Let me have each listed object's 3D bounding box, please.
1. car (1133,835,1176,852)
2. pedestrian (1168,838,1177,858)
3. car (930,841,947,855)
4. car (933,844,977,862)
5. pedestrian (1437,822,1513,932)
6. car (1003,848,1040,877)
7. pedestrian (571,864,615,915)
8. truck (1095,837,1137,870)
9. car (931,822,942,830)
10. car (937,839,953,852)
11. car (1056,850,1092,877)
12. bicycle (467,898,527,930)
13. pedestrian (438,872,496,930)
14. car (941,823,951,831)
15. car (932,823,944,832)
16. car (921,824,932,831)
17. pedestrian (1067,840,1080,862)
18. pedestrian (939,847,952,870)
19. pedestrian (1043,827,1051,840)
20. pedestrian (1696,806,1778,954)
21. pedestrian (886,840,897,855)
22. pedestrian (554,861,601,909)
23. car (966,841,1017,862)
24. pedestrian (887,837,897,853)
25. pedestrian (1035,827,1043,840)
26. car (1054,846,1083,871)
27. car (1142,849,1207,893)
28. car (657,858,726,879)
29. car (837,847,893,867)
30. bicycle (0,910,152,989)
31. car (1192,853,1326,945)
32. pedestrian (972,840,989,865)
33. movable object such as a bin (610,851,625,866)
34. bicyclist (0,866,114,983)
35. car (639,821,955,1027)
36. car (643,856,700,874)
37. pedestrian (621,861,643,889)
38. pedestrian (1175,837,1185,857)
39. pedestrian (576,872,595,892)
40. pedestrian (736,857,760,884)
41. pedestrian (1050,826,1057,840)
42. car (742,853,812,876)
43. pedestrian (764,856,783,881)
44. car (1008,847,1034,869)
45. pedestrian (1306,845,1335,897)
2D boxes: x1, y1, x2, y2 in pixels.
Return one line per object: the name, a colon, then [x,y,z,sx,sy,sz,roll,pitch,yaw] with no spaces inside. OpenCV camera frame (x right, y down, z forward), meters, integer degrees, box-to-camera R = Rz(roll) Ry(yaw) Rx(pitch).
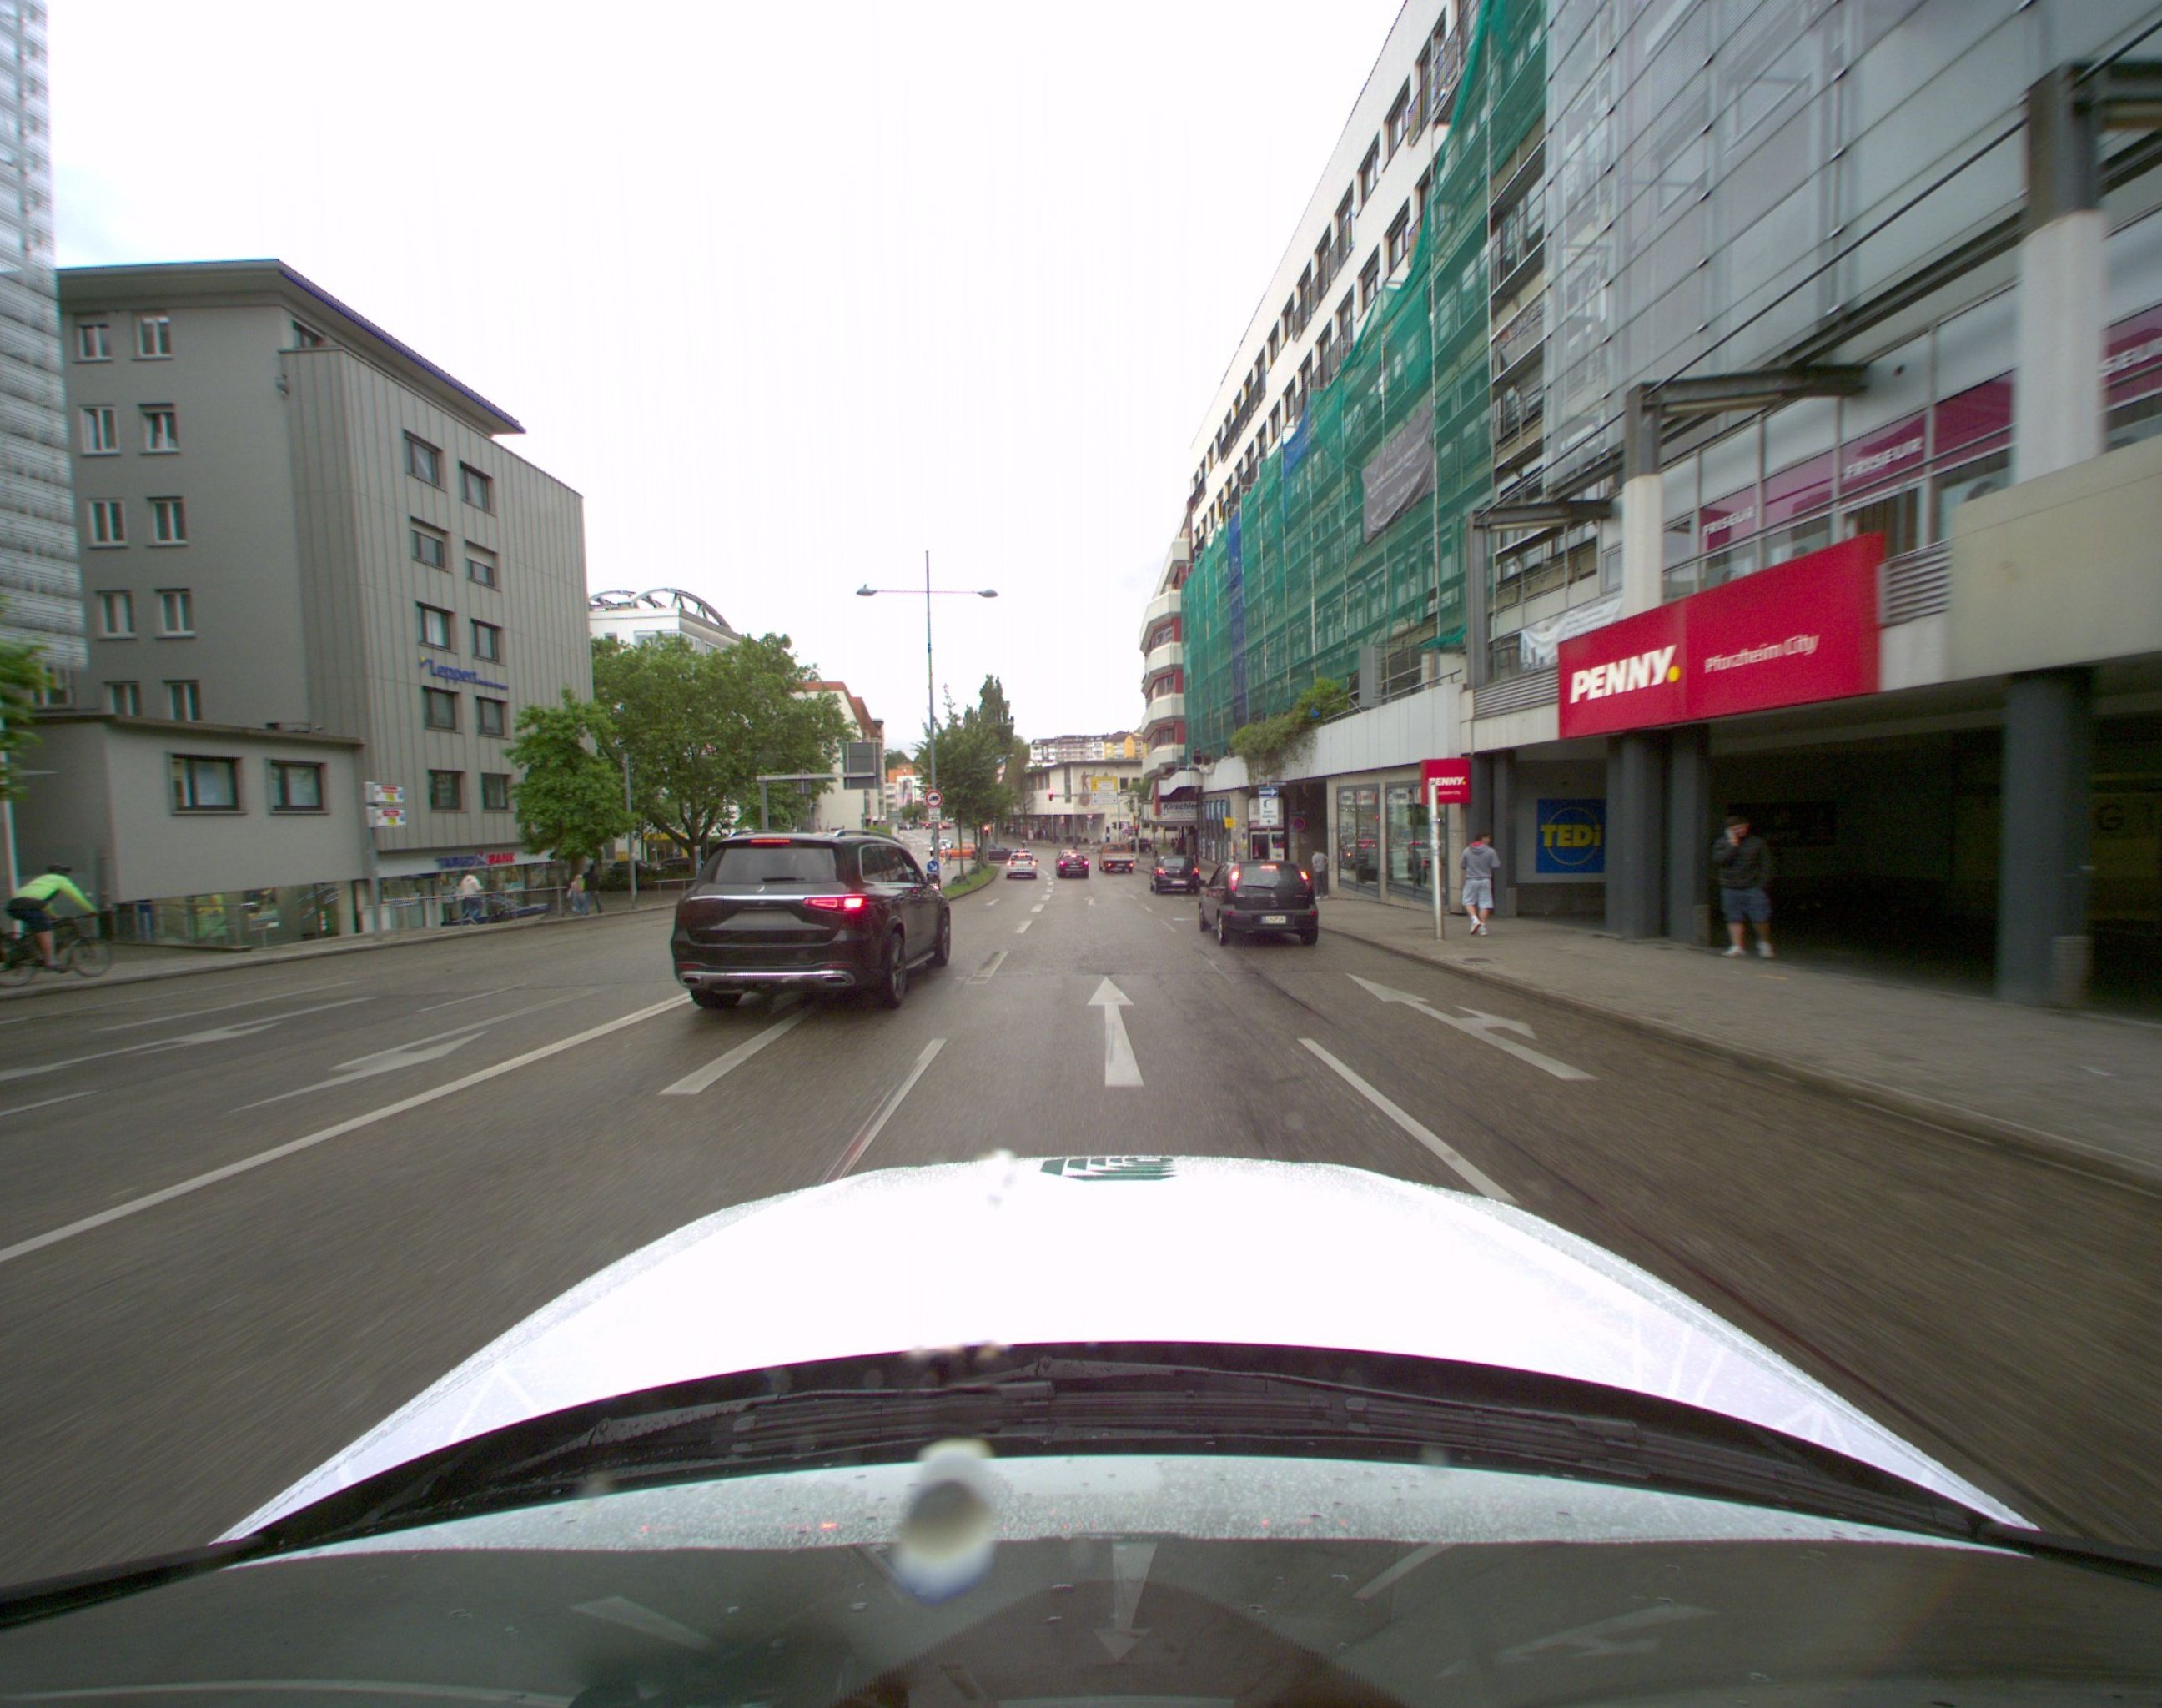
car: [7.342,-1.049,81.553,3.825,1.616,1.765,-1,0,-18]
pedestrian: [7.717,-0.521,68.679,0.576,1.699,0.648,-3,0,-12]
car: [-15.440,-0.687,88.179,1.706,1.451,3.849,-1,1,-9]
car: [-12.022,-0.131,77.446,4.002,1.616,1.767,-1,0,-14]
pedestrian: [6.460,0.367,13.394,0.831,1.722,0.831,-3,0,7]
car: [-3.460,0.480,47.700,1.944,1.574,3.998,-1,1,-2]
pedestrian: [-17.085,1.222,28.531,0.815,1.713,1.309,-3,1,-8]
truck: [2.320,-0.040,55.793,2.180,2.082,5.594,-1,1,-5]
car: [-31.846,-6.061,179.276,1.999,1.596,3.977,-2,1,-17]
car: [-16.014,-0.994,95.804,1.778,1.549,3.986,-1,1,-10]
car: [-0.446,0.538,48.940,1.809,1.441,3.993,0,1,-6]
bicycle: [-24.328,2.483,33.994,0.610,1.087,2.669,-1,0,-2]
pedestrian: [-19.460,1.457,25.836,0.991,1.722,1.037,-3,1,-4]
car: [-31.168,-6.171,187.603,1.835,1.588,3.853,-1,1,-16]
car: [-34.118,-6.391,194.499,2.003,2.013,3.968,-2,1,-24]
car: [-36.607,-6.216,192.791,1.757,1.554,3.540,-2,1,-24]
pedestrian: [-0.614,-0.241,66.743,1.006,1.722,0.839,-3,0,3]
pedestrian: [-10.673,0.343,64.293,0.833,1.722,0.819,-3,0,0]
pedestrian: [-4.686,-2.880,113.340,0.848,1.802,1.050,-3,0,-16]
pedestrian: [8.009,0.295,9.940,0.662,1.715,0.823,-2,1,44]
pedestrian: [-21.175,-0.735,91.037,0.931,1.608,0.557,-3,0,-43]
pedestrian: [-19.293,1.180,31.220,0.969,1.722,1.092,-3,1,5]
car: [-7.701,-0.205,70.151,4.154,1.657,1.832,-1,0,-14]
pedestrian: [-21.470,-1.030,92.531,0.911,1.802,0.620,-3,0,-43]
pedestrian: [-5.839,-2.841,113.883,0.800,1.802,0.913,-3,0,-16]
car: [-0.895,0.284,57.415,1.757,1.542,3.994,-1,1,-4]
car: [3.584,0.606,31.877,1.945,1.574,3.997,-1,1,-2]
car: [-31.817,1.191,66.676,4.705,1.591,1.990,-1,0,-14]
car: [-18.731,0.239,70.671,4.693,1.643,1.777,0,0,-17]
bicycle: [-17.093,1.577,13.742,0.678,1.099,2.064,-2,0,-9]
car: [3.088,0.710,14.821,1.710,1.420,3.772,-1,0,2]
pedestrian: [-7.743,-0.125,63.037,1.058,1.882,0.839,-3,0,4]
movable object such as a bin: [-46.772,0.418,82.180,1.107,1.446,0.601,-3,0,2]
bicyclist: [-17.097,1.142,13.605,0.668,1.830,0.987,-3,0,-9]
car: [-2.890,0.599,9.633,2.081,1.817,4.791,1,1,-1]
car: [-32.157,0.883,64.015,3.687,1.287,1.630,-1,0,-14]
pedestrian: [-29.161,1.357,52.919,0.752,1.722,0.955,-2,1,11]
pedestrian: [8.360,-0.595,68.945,0.577,1.699,0.647,-3,0,-16]
pedestrian: [-32.874,1.837,54.061,0.954,1.272,0.753,-3,1,-28]
pedestrian: [-22.885,1.146,55.962,0.940,1.722,1.021,-3,2,21]
pedestrian: [-3.859,-2.943,113.739,0.704,1.802,0.933,-3,0,-16]
car: [-24.541,0.826,65.823,5.078,1.759,1.990,0,0,-14]
pedestrian: [-22.183,1.037,58.709,0.943,1.722,0.761,-3,0,7]
car: [-4.338,0.256,59.190,1.791,1.468,3.994,-1,1,-5]
pedestrian: [7.821,0.562,26.602,0.635,1.649,0.566,-4,-1,40]
